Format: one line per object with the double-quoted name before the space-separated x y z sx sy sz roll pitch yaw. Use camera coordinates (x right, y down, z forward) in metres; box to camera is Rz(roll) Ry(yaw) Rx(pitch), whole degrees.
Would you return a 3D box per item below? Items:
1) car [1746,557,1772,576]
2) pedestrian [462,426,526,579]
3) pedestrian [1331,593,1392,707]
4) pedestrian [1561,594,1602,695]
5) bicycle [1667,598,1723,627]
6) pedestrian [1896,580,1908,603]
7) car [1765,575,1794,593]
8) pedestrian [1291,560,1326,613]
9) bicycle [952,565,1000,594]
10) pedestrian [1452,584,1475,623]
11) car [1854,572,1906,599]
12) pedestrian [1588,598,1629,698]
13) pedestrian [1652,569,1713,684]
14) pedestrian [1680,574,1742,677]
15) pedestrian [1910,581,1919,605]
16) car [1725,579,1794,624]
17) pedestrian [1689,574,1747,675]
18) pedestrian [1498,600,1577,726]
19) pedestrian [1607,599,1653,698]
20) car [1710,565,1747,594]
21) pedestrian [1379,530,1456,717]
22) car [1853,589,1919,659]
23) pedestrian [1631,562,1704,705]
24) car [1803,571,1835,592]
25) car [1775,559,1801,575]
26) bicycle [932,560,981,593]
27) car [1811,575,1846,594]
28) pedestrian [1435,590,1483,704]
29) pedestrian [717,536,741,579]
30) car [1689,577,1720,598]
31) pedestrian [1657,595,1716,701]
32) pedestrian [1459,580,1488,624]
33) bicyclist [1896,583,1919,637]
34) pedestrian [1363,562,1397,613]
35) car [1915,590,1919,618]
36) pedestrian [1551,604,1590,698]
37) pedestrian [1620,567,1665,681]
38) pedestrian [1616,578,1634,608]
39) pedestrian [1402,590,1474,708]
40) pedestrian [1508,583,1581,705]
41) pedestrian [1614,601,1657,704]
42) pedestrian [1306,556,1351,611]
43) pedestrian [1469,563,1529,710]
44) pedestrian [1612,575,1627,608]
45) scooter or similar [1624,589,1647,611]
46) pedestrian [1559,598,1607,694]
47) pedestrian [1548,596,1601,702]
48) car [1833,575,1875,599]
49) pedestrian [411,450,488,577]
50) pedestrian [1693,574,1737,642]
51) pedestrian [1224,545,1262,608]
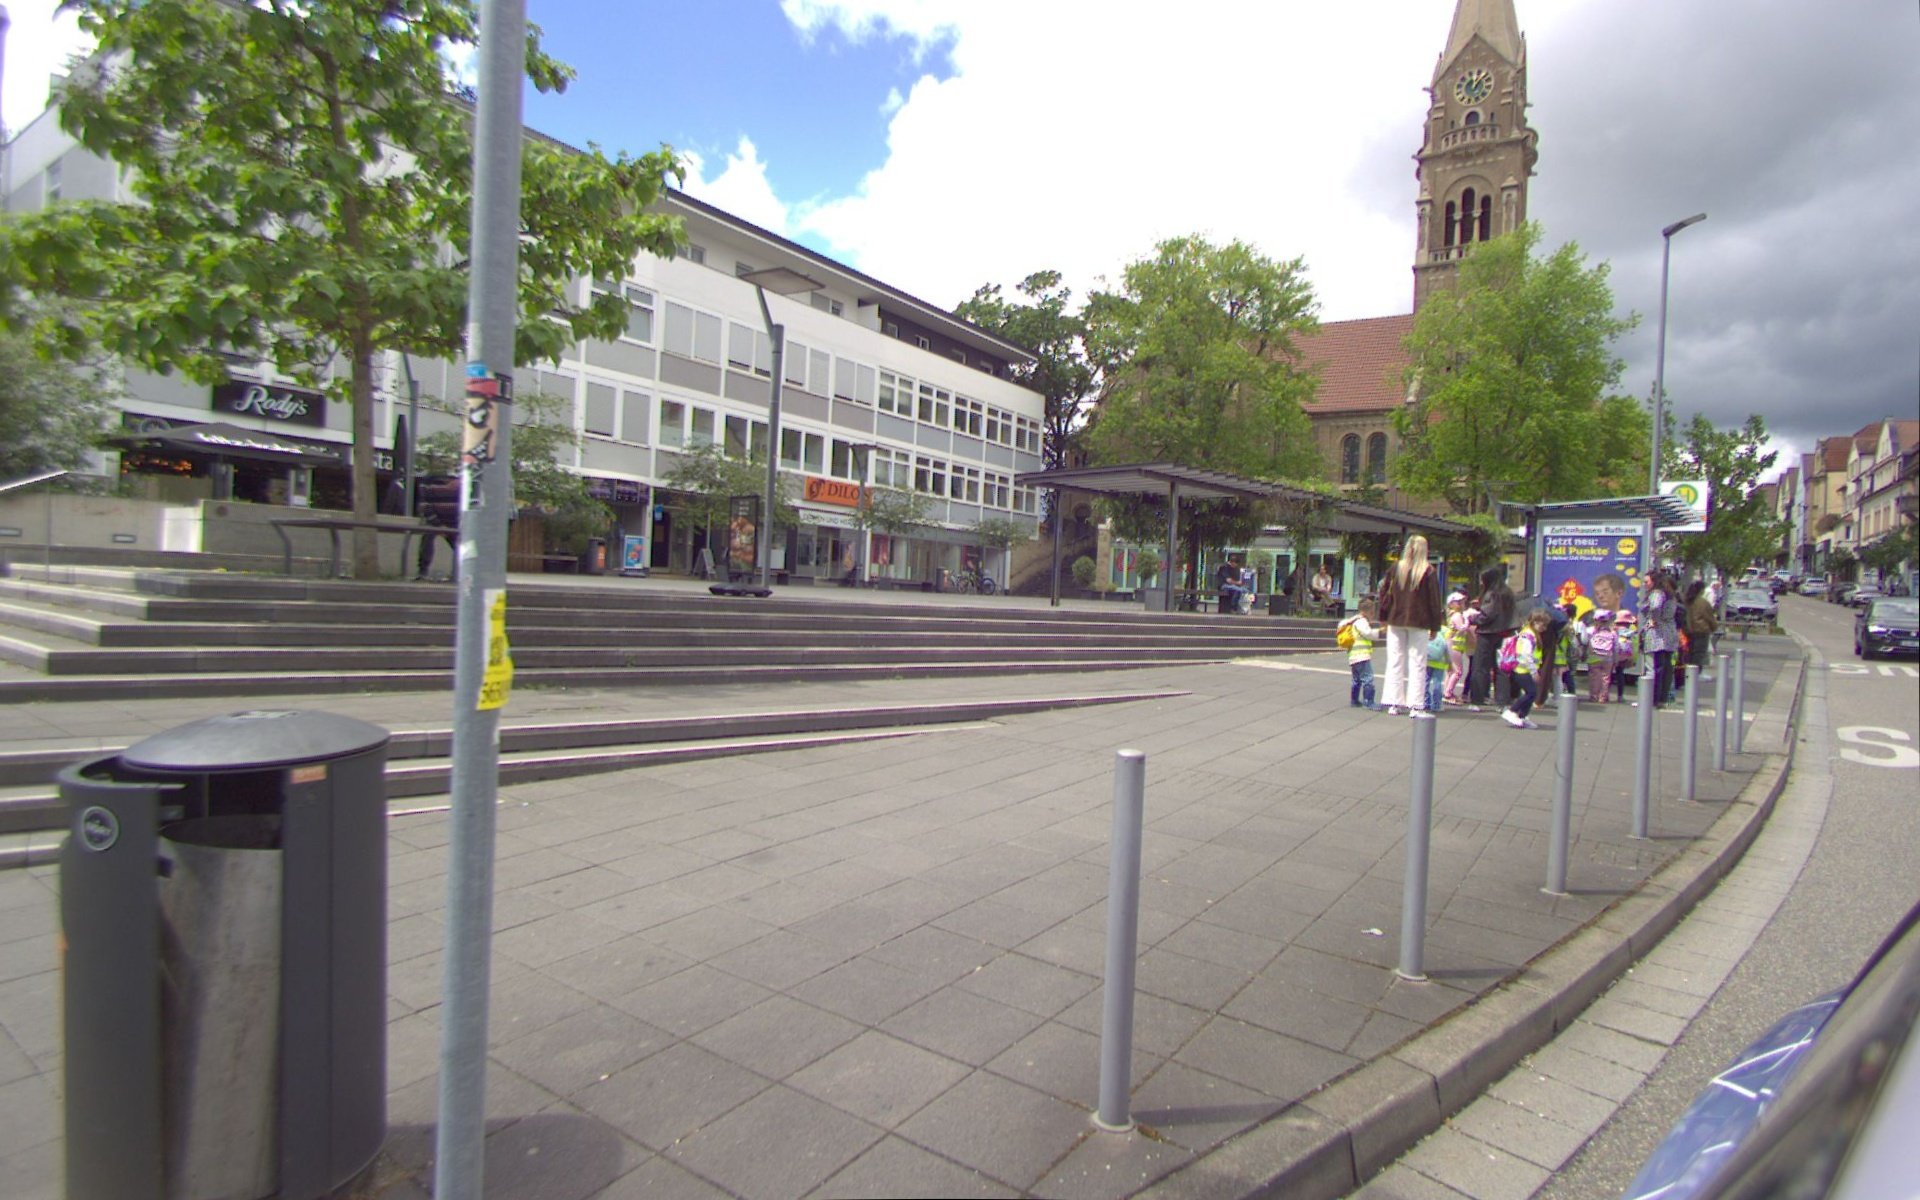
"car" 80.955 -3.437 102.580 1.742 1.824 4.159 5 4 35
"pedestrian" -4.868 -0.998 10.567 0.446 1.527 0.503 2 1 -40
"pedestrian" 4.290 0.521 10.823 0.439 1.162 0.377 5 3 43
"pedestrian" 7.527 0.536 12.267 0.247 1.188 0.251 3 2 -1
"bicycle" 28.969 0.496 39.914 1.720 1.008 0.341 4 3 32
"pedestrian" 64.719 -0.584 69.523 0.494 1.495 0.522 2 3 33
"car" 69.797 -1.360 86.222 1.603 1.405 3.582 4 4 36
"pedestrian" 8.260 -0.327 23.973 0.556 1.243 0.569 1 1 -40
"bicycle" 0.729 -0.912 45.082 1.993 1.156 0.686 5 2 8
"pedestrian" 14.998 0.104 30.132 0.476 1.102 0.362 3 0 45
"car" 60.381 -0.995 66.494 1.718 1.592 4.405 2 3 32
"pedestrian" 7.850 0.580 12.255 0.260 1.175 0.270 3 2 11
"pedestrian" 10.246 0.364 14.365 0.495 1.585 0.495 3 2 19
"pedestrian" 11.778 0.387 15.883 0.477 1.568 0.545 2 2 -6
"pedestrian" 65.273 -0.468 68.948 0.611 1.601 0.635 2 3 33
"car" 34.883 0.002 44.237 1.922 1.745 4.518 4 3 34
"pedestrian" 12.172 0.387 16.257 0.477 1.568 0.515 2 2 -23
"pedestrian" 5.679 0.617 9.968 0.466 1.186 0.392 2 3 -18
"pedestrian" 8.190 0.586 12.378 0.288 1.166 0.298 3 2 9
"car" 54.396 -1.520 71.603 1.883 1.869 4.961 4 4 39
"pedestrian" 4.703 0.219 10.396 0.538 1.845 0.430 5 3 35
"car" 24.459 0.568 25.935 1.883 1.543 3.691 1 3 34
"pedestrian" 8.348 0.382 11.953 0.460 1.639 0.388 3 2 -1
"car" 75.959 -1.664 89.549 1.722 1.700 3.944 2 4 34
"car" 85.367 -3.379 104.373 1.680 1.542 3.487 3 4 34
"bicycle" -0.147 -1.030 43.957 1.993 1.323 0.686 4 1 8
"car" 71.796 -1.311 83.691 1.722 1.448 3.461 2 4 34
"pedestrian" 5.672 0.525 11.498 0.323 1.253 0.329 6 4 44
"pedestrian" -7.296 -1.340 31.975 0.561 1.340 0.543 1 0 14
"car" 63.648 -1.088 86.550 1.806 1.464 3.900 6 6 33
"pedestrian" 8.815 0.572 12.284 0.380 1.241 0.405 1 2 -27
"pedestrian" 15.447 0.056 30.434 0.568 1.278 0.533 3 0 45
"bicyclist" 31.297 0.345 33.067 0.767 1.715 0.508 4 3 14
"pedestrian" 11.166 -0.338 26.912 0.624 1.323 0.537 4 2 44
"car" 50.746 0.285 52.087 1.652 1.409 4.388 2 3 35
"pedestrian" 7.266 0.603 12.049 0.246 1.082 0.252 2 3 -33
"pedestrian" 9.774 0.334 14.509 0.390 1.585 0.350 3 2 21
"pedestrian" 34.030 -0.358 51.776 0.574 1.542 0.589 1 2 -43
"pedestrian" 5.096 0.514 10.793 0.500 1.213 0.392 2 2 -24
"pedestrian" 6.704 0.491 11.626 0.426 1.319 0.598 3 3 7
"pedestrian" 7.941 0.611 11.901 0.244 1.166 0.275 3 2 5
"pedestrian" 8.907 -0.403 24.499 0.662 1.285 0.772 1 1 -20
"pedestrian" 5.845 0.383 10.972 0.383 1.535 0.390 1 3 -43
"pedestrian" 34.225 -0.453 52.529 0.498 1.665 0.473 -1 4 -43
"scooter or similar" 34.852 -0.007 52.208 0.551 1.085 0.813 -1 4 -43
"pedestrian" 7.794 0.569 12.663 0.313 1.166 0.322 3 2 1
"pedestrian" 7.108 0.560 11.724 0.330 1.180 0.351 3 4 9
"car" 64.170 -0.944 72.714 1.657 1.545 3.919 0 3 33
"pedestrian" -5.509 -0.918 10.924 0.631 1.301 0.363 2 1 -45
"pedestrian" 19.426 0.207 26.041 0.701 1.703 0.686 1 2 -39
"pedestrian" 6.140 -0.503 21.974 0.536 1.340 0.569 1 1 -40
